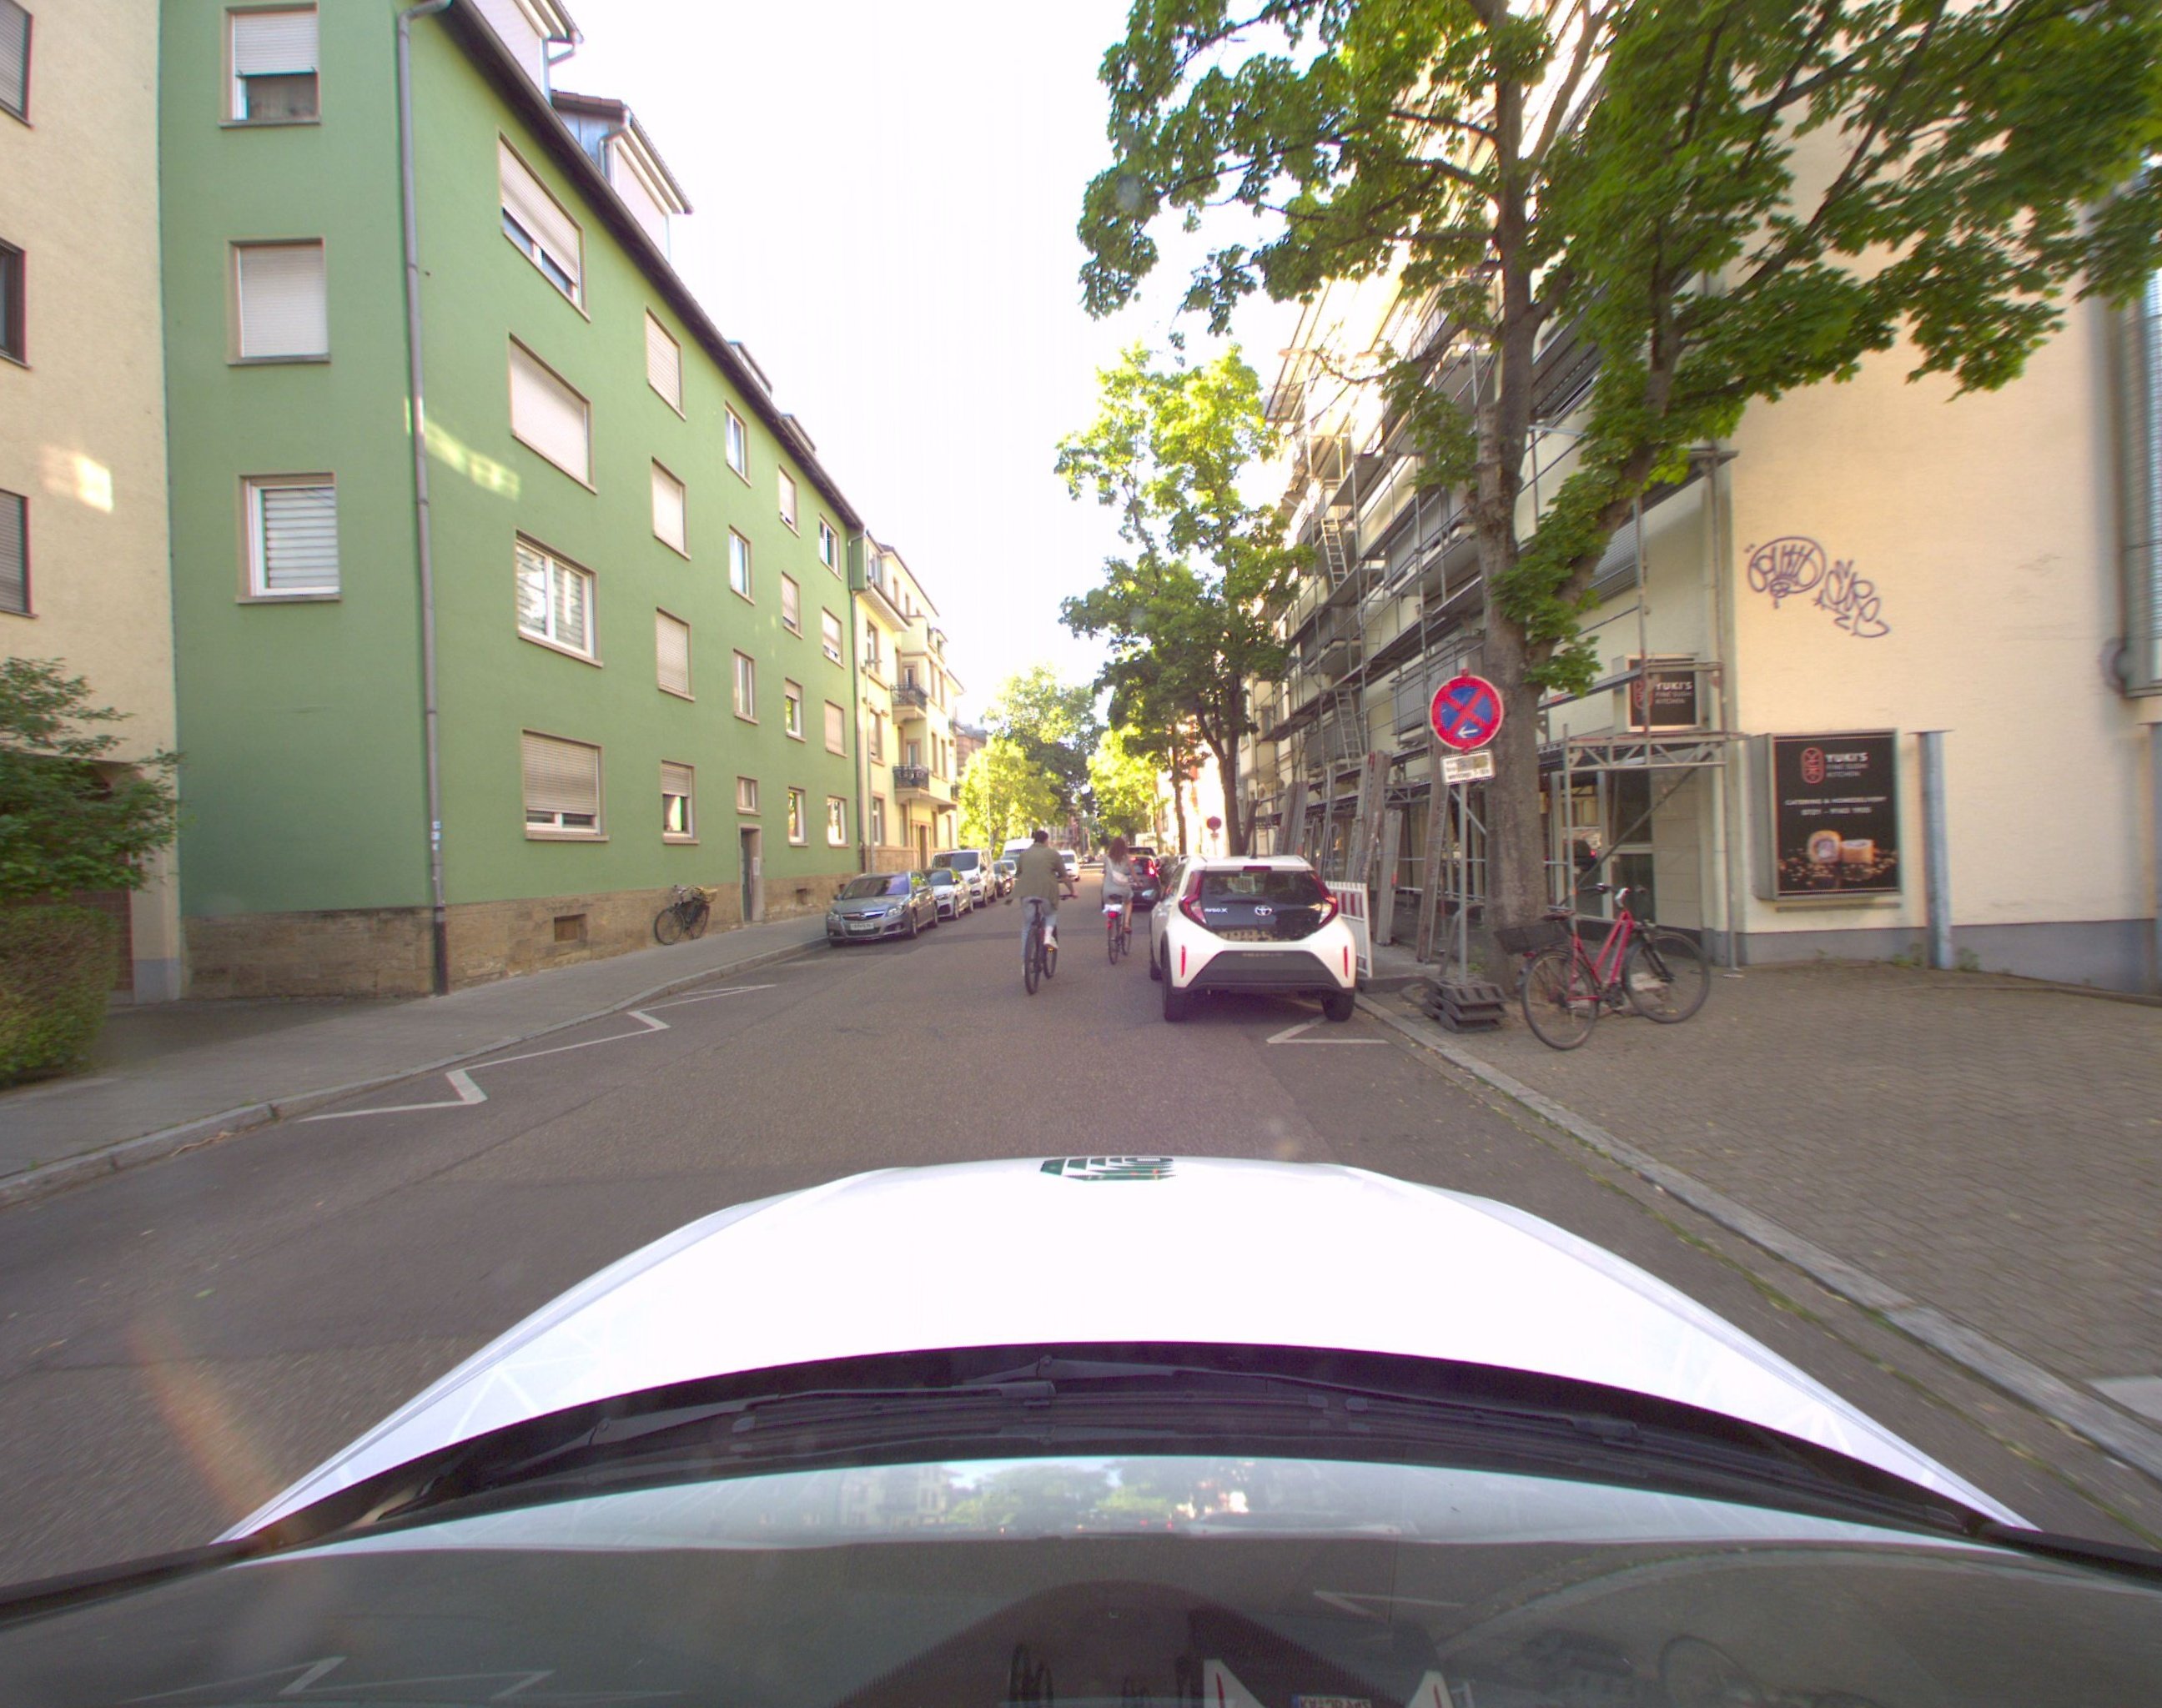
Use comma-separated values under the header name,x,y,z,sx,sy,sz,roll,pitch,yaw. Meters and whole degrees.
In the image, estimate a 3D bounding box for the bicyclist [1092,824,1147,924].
name,x,y,z,sx,sy,sz,roll,pitch,yaw
bicyclist,0.578,0.312,11.961,0.619,1.381,0.870,-4,-5,11

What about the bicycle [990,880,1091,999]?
name,x,y,z,sx,sy,sz,roll,pitch,yaw
bicycle,-0.414,0.945,9.743,0.835,1.149,2.236,-2,1,6

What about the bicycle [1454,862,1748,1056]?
name,x,y,z,sx,sy,sz,roll,pitch,yaw
bicycle,3.968,0.729,6.231,1.985,1.165,0.722,-5,1,-17

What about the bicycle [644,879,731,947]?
name,x,y,z,sx,sy,sz,roll,pitch,yaw
bicycle,-7.830,1.132,16.344,0.548,1.178,2.280,1,0,2

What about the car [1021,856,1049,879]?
name,x,y,z,sx,sy,sz,roll,pitch,yaw
car,-3.403,1.014,61.195,1.704,1.560,4.001,-2,0,1

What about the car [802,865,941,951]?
name,x,y,z,sx,sy,sz,roll,pitch,yaw
car,-4.418,1.075,17.885,1.974,1.455,4.111,-5,0,-2

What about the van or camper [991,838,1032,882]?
name,x,y,z,sx,sy,sz,roll,pitch,yaw
van or camper,-4.316,0.360,51.463,1.987,2.553,5.023,-2,0,0

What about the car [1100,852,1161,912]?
name,x,y,z,sx,sy,sz,roll,pitch,yaw
car,1.378,0.720,22.970,1.550,1.533,3.489,-1,0,3

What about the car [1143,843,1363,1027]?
name,x,y,z,sx,sy,sz,roll,pitch,yaw
car,1.611,0.700,8.700,1.669,1.545,3.404,-1,0,1

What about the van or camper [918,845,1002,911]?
name,x,y,z,sx,sy,sz,roll,pitch,yaw
van or camper,-4.141,0.775,28.685,1.986,2.013,4.913,-3,0,1

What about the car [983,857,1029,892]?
name,x,y,z,sx,sy,sz,roll,pitch,yaw
car,-3.606,0.958,39.782,1.704,1.504,4.001,-2,0,1

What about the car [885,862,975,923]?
name,x,y,z,sx,sy,sz,roll,pitch,yaw
car,-4.159,1.015,22.986,1.680,1.453,3.711,-3,0,1

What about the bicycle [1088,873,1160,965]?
name,x,y,z,sx,sy,sz,roll,pitch,yaw
bicycle,0.687,0.906,12.131,0.834,1.149,2.238,-1,1,9

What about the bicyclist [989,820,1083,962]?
name,x,y,z,sx,sy,sz,roll,pitch,yaw
bicyclist,-0.512,0.438,9.653,0.876,1.562,0.870,-3,-3,9

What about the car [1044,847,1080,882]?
name,x,y,z,sx,sy,sz,roll,pitch,yaw
car,-1.055,0.606,47.490,1.775,1.861,4.201,-3,0,2
